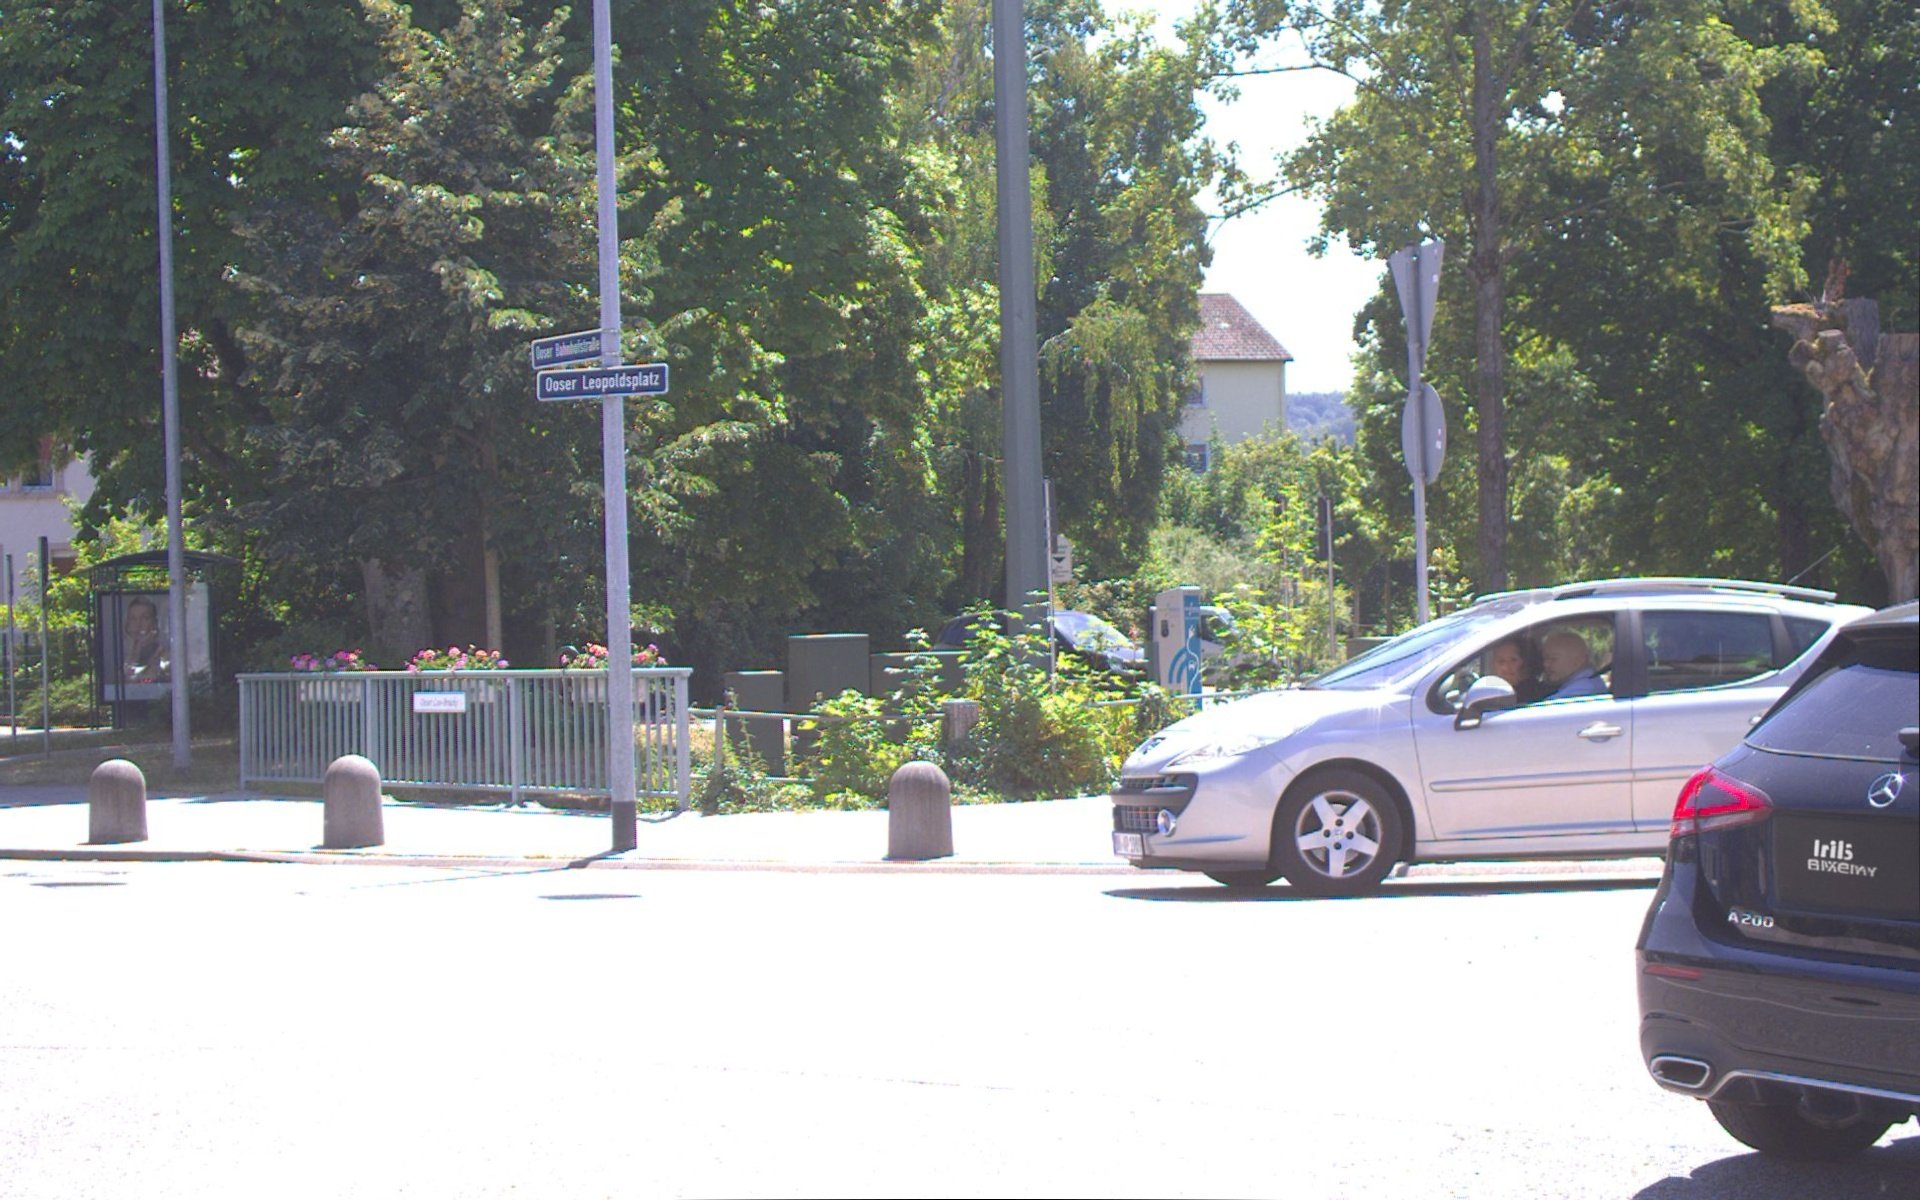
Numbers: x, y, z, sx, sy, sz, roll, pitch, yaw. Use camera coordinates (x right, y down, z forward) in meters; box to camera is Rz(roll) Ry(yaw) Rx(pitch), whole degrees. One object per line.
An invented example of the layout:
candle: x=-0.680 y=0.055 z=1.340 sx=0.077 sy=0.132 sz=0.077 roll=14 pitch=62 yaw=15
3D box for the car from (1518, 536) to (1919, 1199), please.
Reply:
car: x=3.587 y=0.609 z=8.243 sx=4.424 sy=1.452 sz=1.768 roll=-1 pitch=4 yaw=-35

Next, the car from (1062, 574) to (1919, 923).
car: x=2.780 y=0.679 z=17.060 sx=4.193 sy=1.511 sz=1.746 roll=-1 pitch=0 yaw=-14

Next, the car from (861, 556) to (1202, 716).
car: x=0.933 y=0.478 z=45.296 sx=3.994 sy=2.007 sz=1.997 roll=-1 pitch=0 yaw=31

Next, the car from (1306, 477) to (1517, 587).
car: x=8.839 y=-1.308 z=67.399 sx=3.988 sy=2.007 sz=1.999 roll=-2 pitch=0 yaw=7

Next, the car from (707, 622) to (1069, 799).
car: x=-0.687 y=1.036 z=33.189 sx=3.049 sy=1.547 sz=1.634 roll=-2 pitch=0 yaw=-32
